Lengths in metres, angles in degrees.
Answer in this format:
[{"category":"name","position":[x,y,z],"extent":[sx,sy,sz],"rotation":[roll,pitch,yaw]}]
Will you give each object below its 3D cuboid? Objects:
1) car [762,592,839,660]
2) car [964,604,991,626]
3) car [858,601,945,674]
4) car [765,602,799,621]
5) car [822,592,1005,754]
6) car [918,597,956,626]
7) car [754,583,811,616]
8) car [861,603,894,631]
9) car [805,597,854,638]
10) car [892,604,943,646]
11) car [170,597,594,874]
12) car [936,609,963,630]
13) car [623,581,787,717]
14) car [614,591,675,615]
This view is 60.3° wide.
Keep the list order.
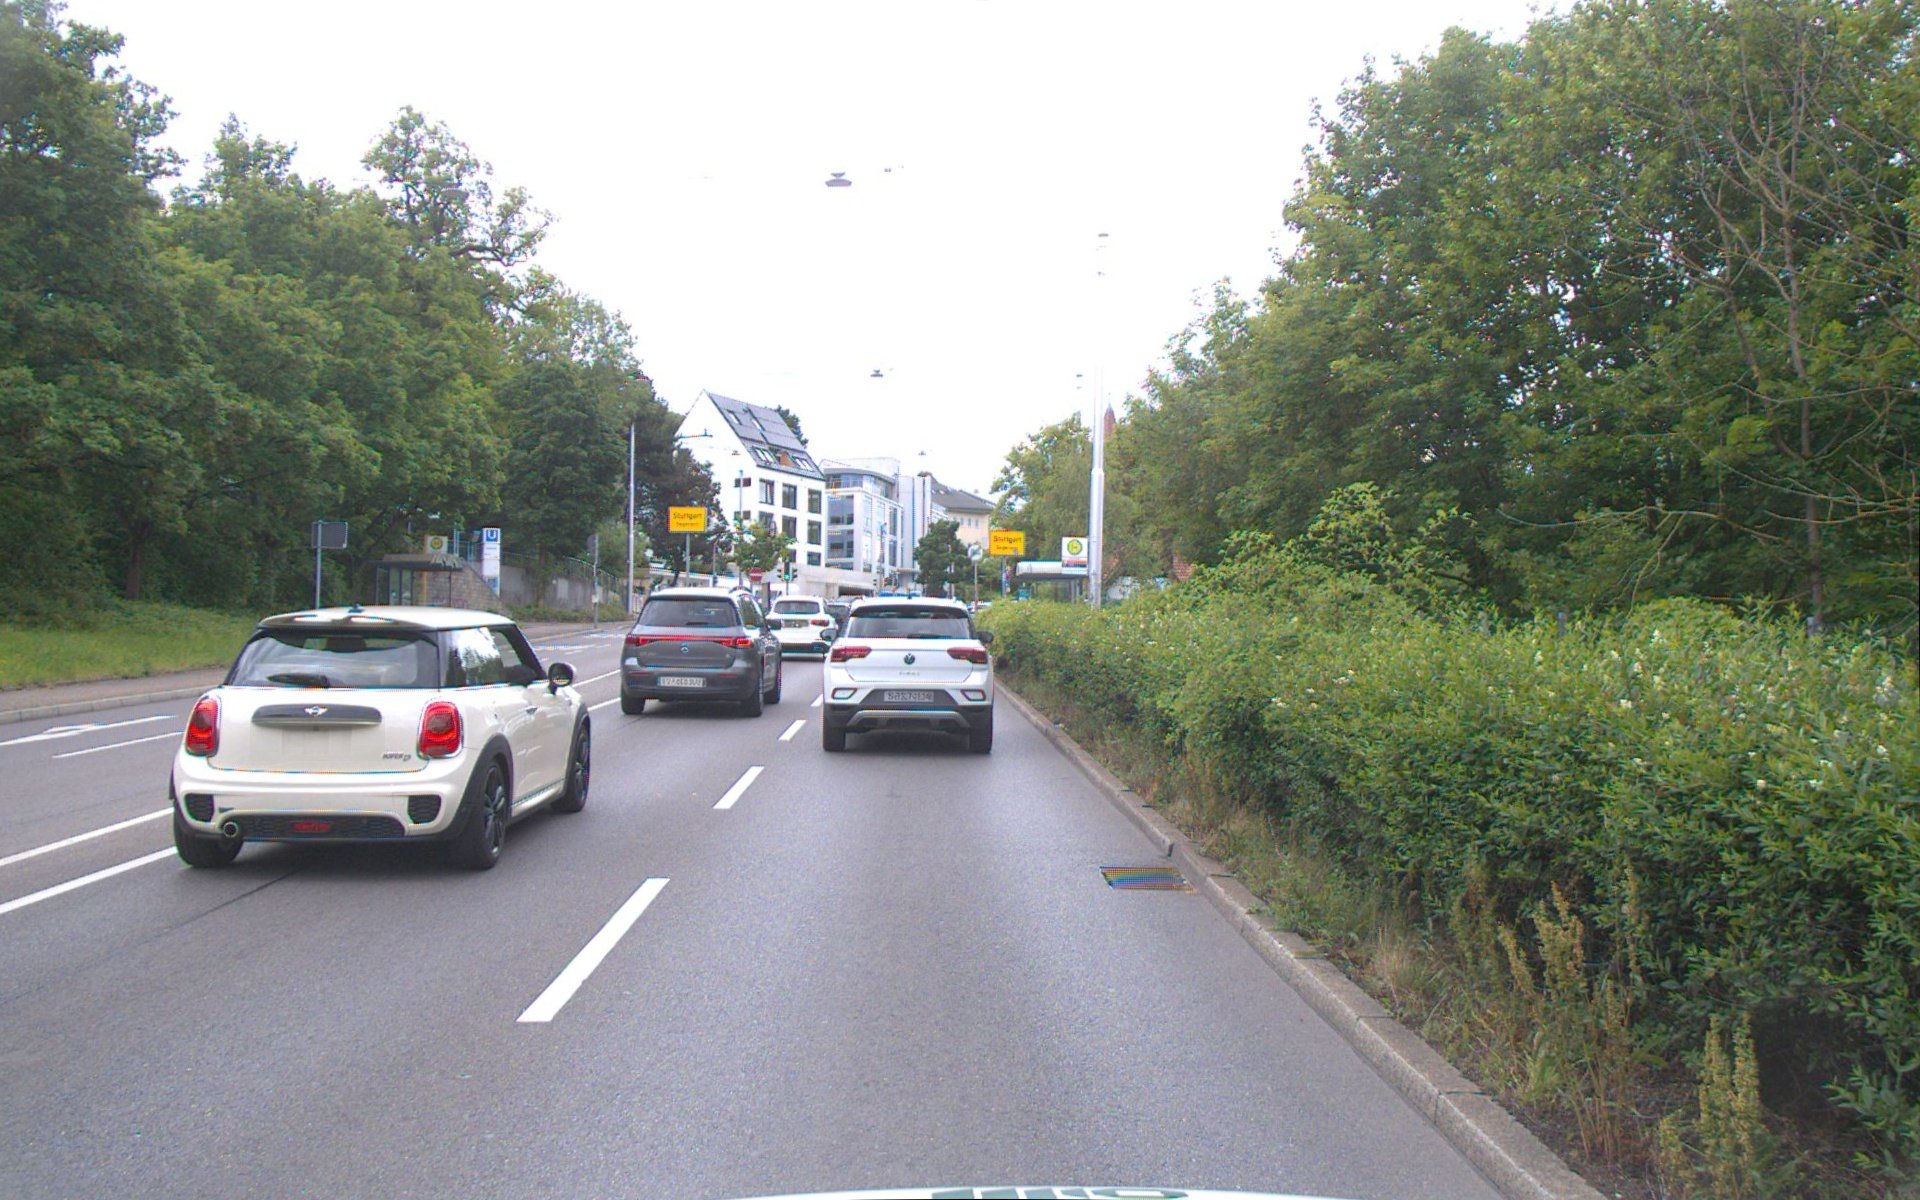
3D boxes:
[{"category":"car","position":[-4.155,0.647,43.560],"extent":[1.821,1.681,4.633],"rotation":[0,0,-3]},{"category":"car","position":[1.258,1.054,117.819],"extent":[1.819,1.527,4.057],"rotation":[0,0,3]},{"category":"car","position":[-1.346,0.798,36.816],"extent":[1.821,1.527,4.053],"rotation":[0,0,-3]},{"category":"car","position":[-13.833,0.888,128.412],"extent":[1.587,1.491,3.930],"rotation":[0,0,10]},{"category":"car","position":[-0.551,0.713,17.958],"extent":[1.775,1.566,3.687],"rotation":[0,0,-3]},{"category":"car","position":[-1.228,0.599,87.586],"extent":[1.821,1.527,4.053],"rotation":[0,0,-3]},{"category":"car","position":[-14.558,-0.053,136.050],"extent":[2.184,2.613,7.427],"rotation":[0,0,14]},{"category":"car","position":[-4.685,0.951,93.289],"extent":[1.821,1.527,4.053],"rotation":[0,0,-3]},{"category":"car","position":[-5.108,0.676,65.043],"extent":[1.821,1.527,4.053],"rotation":[0,0,-3]},{"category":"car","position":[-1.772,0.984,67.225],"extent":[1.836,1.527,4.552],"rotation":[4,0,-3]},{"category":"car","position":[-3.372,0.701,10.327],"extent":[1.595,1.418,3.563],"rotation":[0,0,-4]},{"category":"car","position":[-0.747,1.425,122.286],"extent":[1.819,1.527,4.057],"rotation":[0,0,3]},{"category":"car","position":[-3.410,0.615,22.876],"extent":[1.777,1.681,4.633],"rotation":[0,0,-3]},{"category":"car","position":[-21.461,0.211,112.544],"extent":[4.049,1.567,1.593],"rotation":[1,0,-14]}]
